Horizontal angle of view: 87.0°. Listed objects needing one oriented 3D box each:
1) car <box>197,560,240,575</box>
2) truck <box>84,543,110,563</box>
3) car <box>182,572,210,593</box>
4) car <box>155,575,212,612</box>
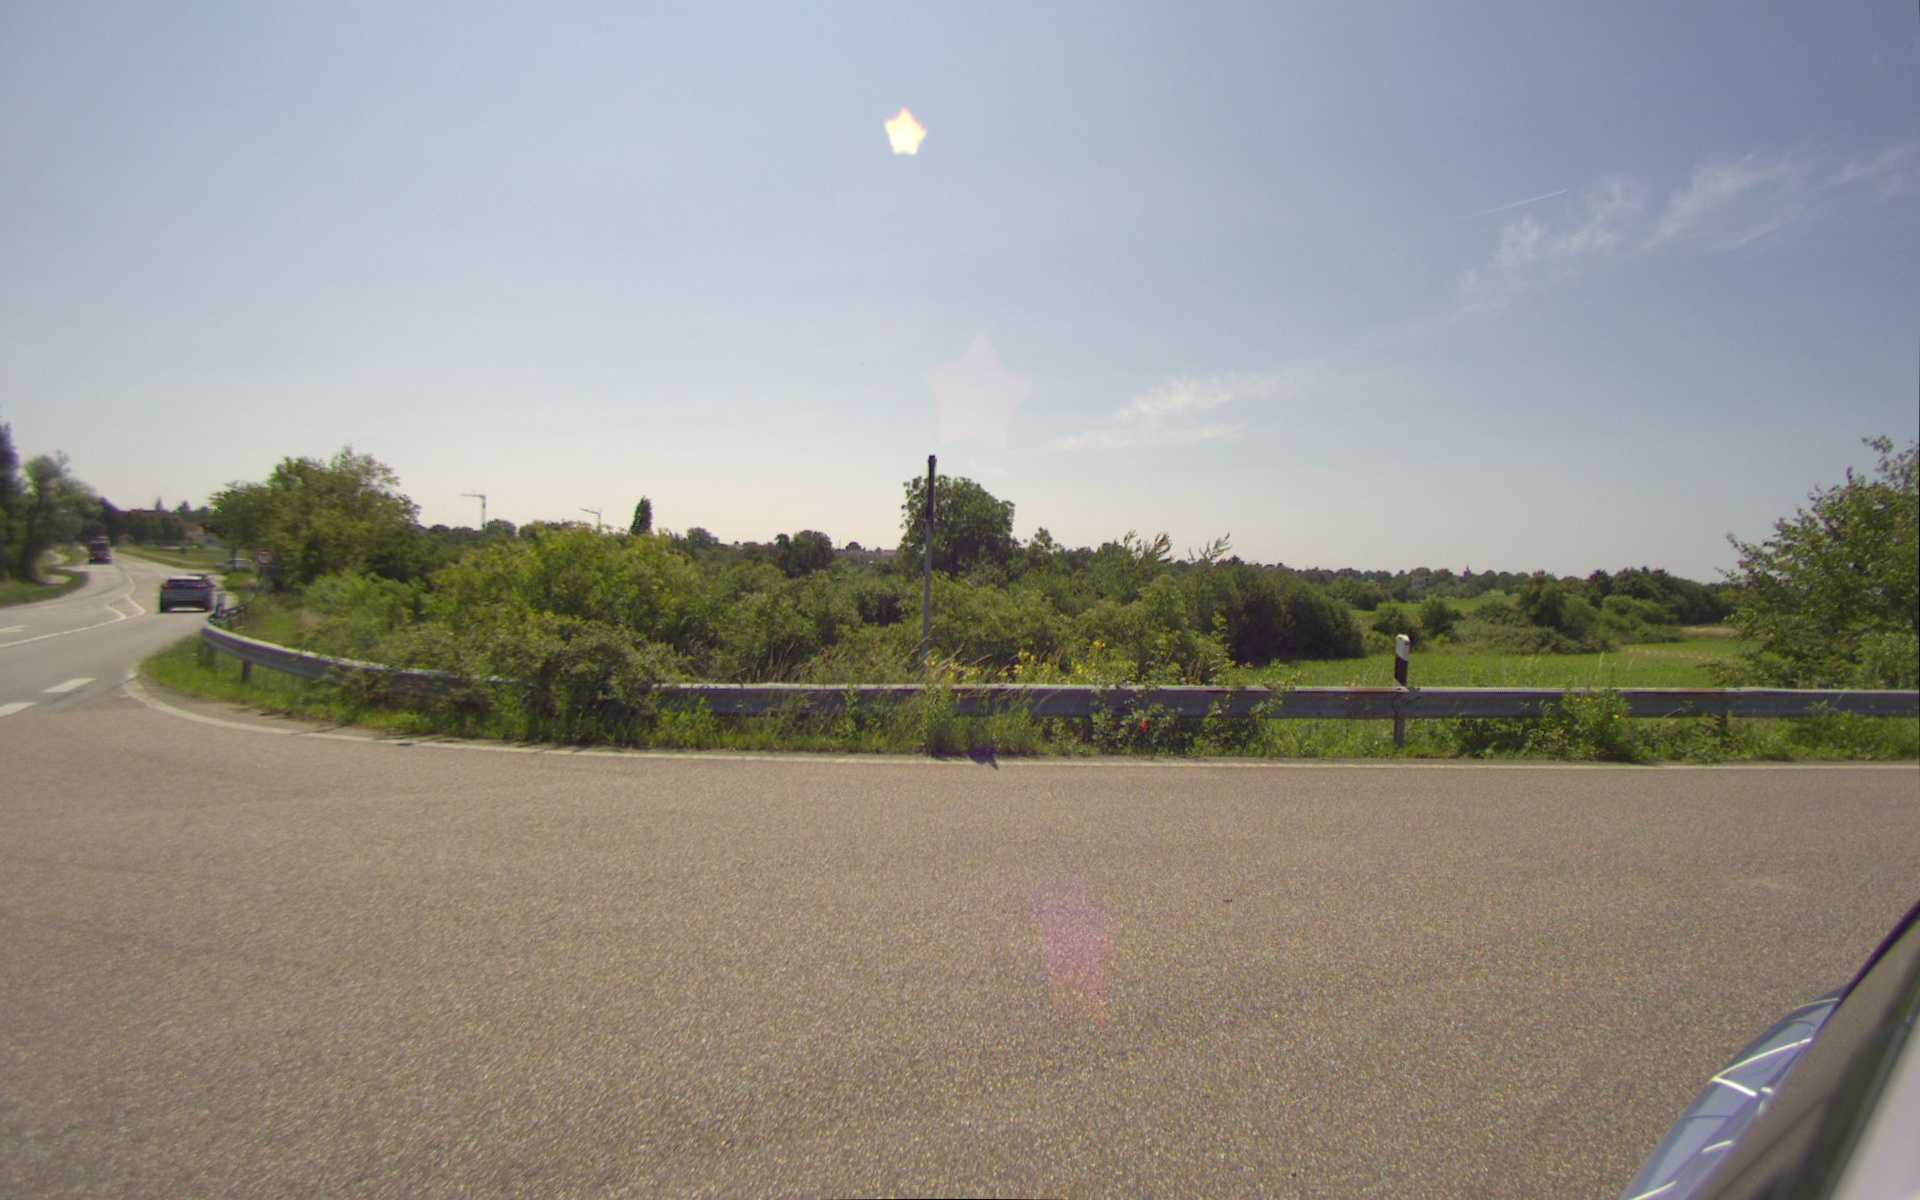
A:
[{"bbox_3d":[-101.770,-4.450,138.964,4.322,2.039,2.004,0,1,-19],"label":"car"},{"bbox_3d":[-125.783,-6.854,147.574,2.812,2.822,6.950,0,2,-40],"label":"truck"},{"bbox_3d":[-60.258,-1.404,79.825,1.497,1.592,3.671,0,1,-33],"label":"car"},{"bbox_3d":[-35.265,-0.283,46.056,1.763,1.603,4.492,0,0,-34],"label":"car"}]
